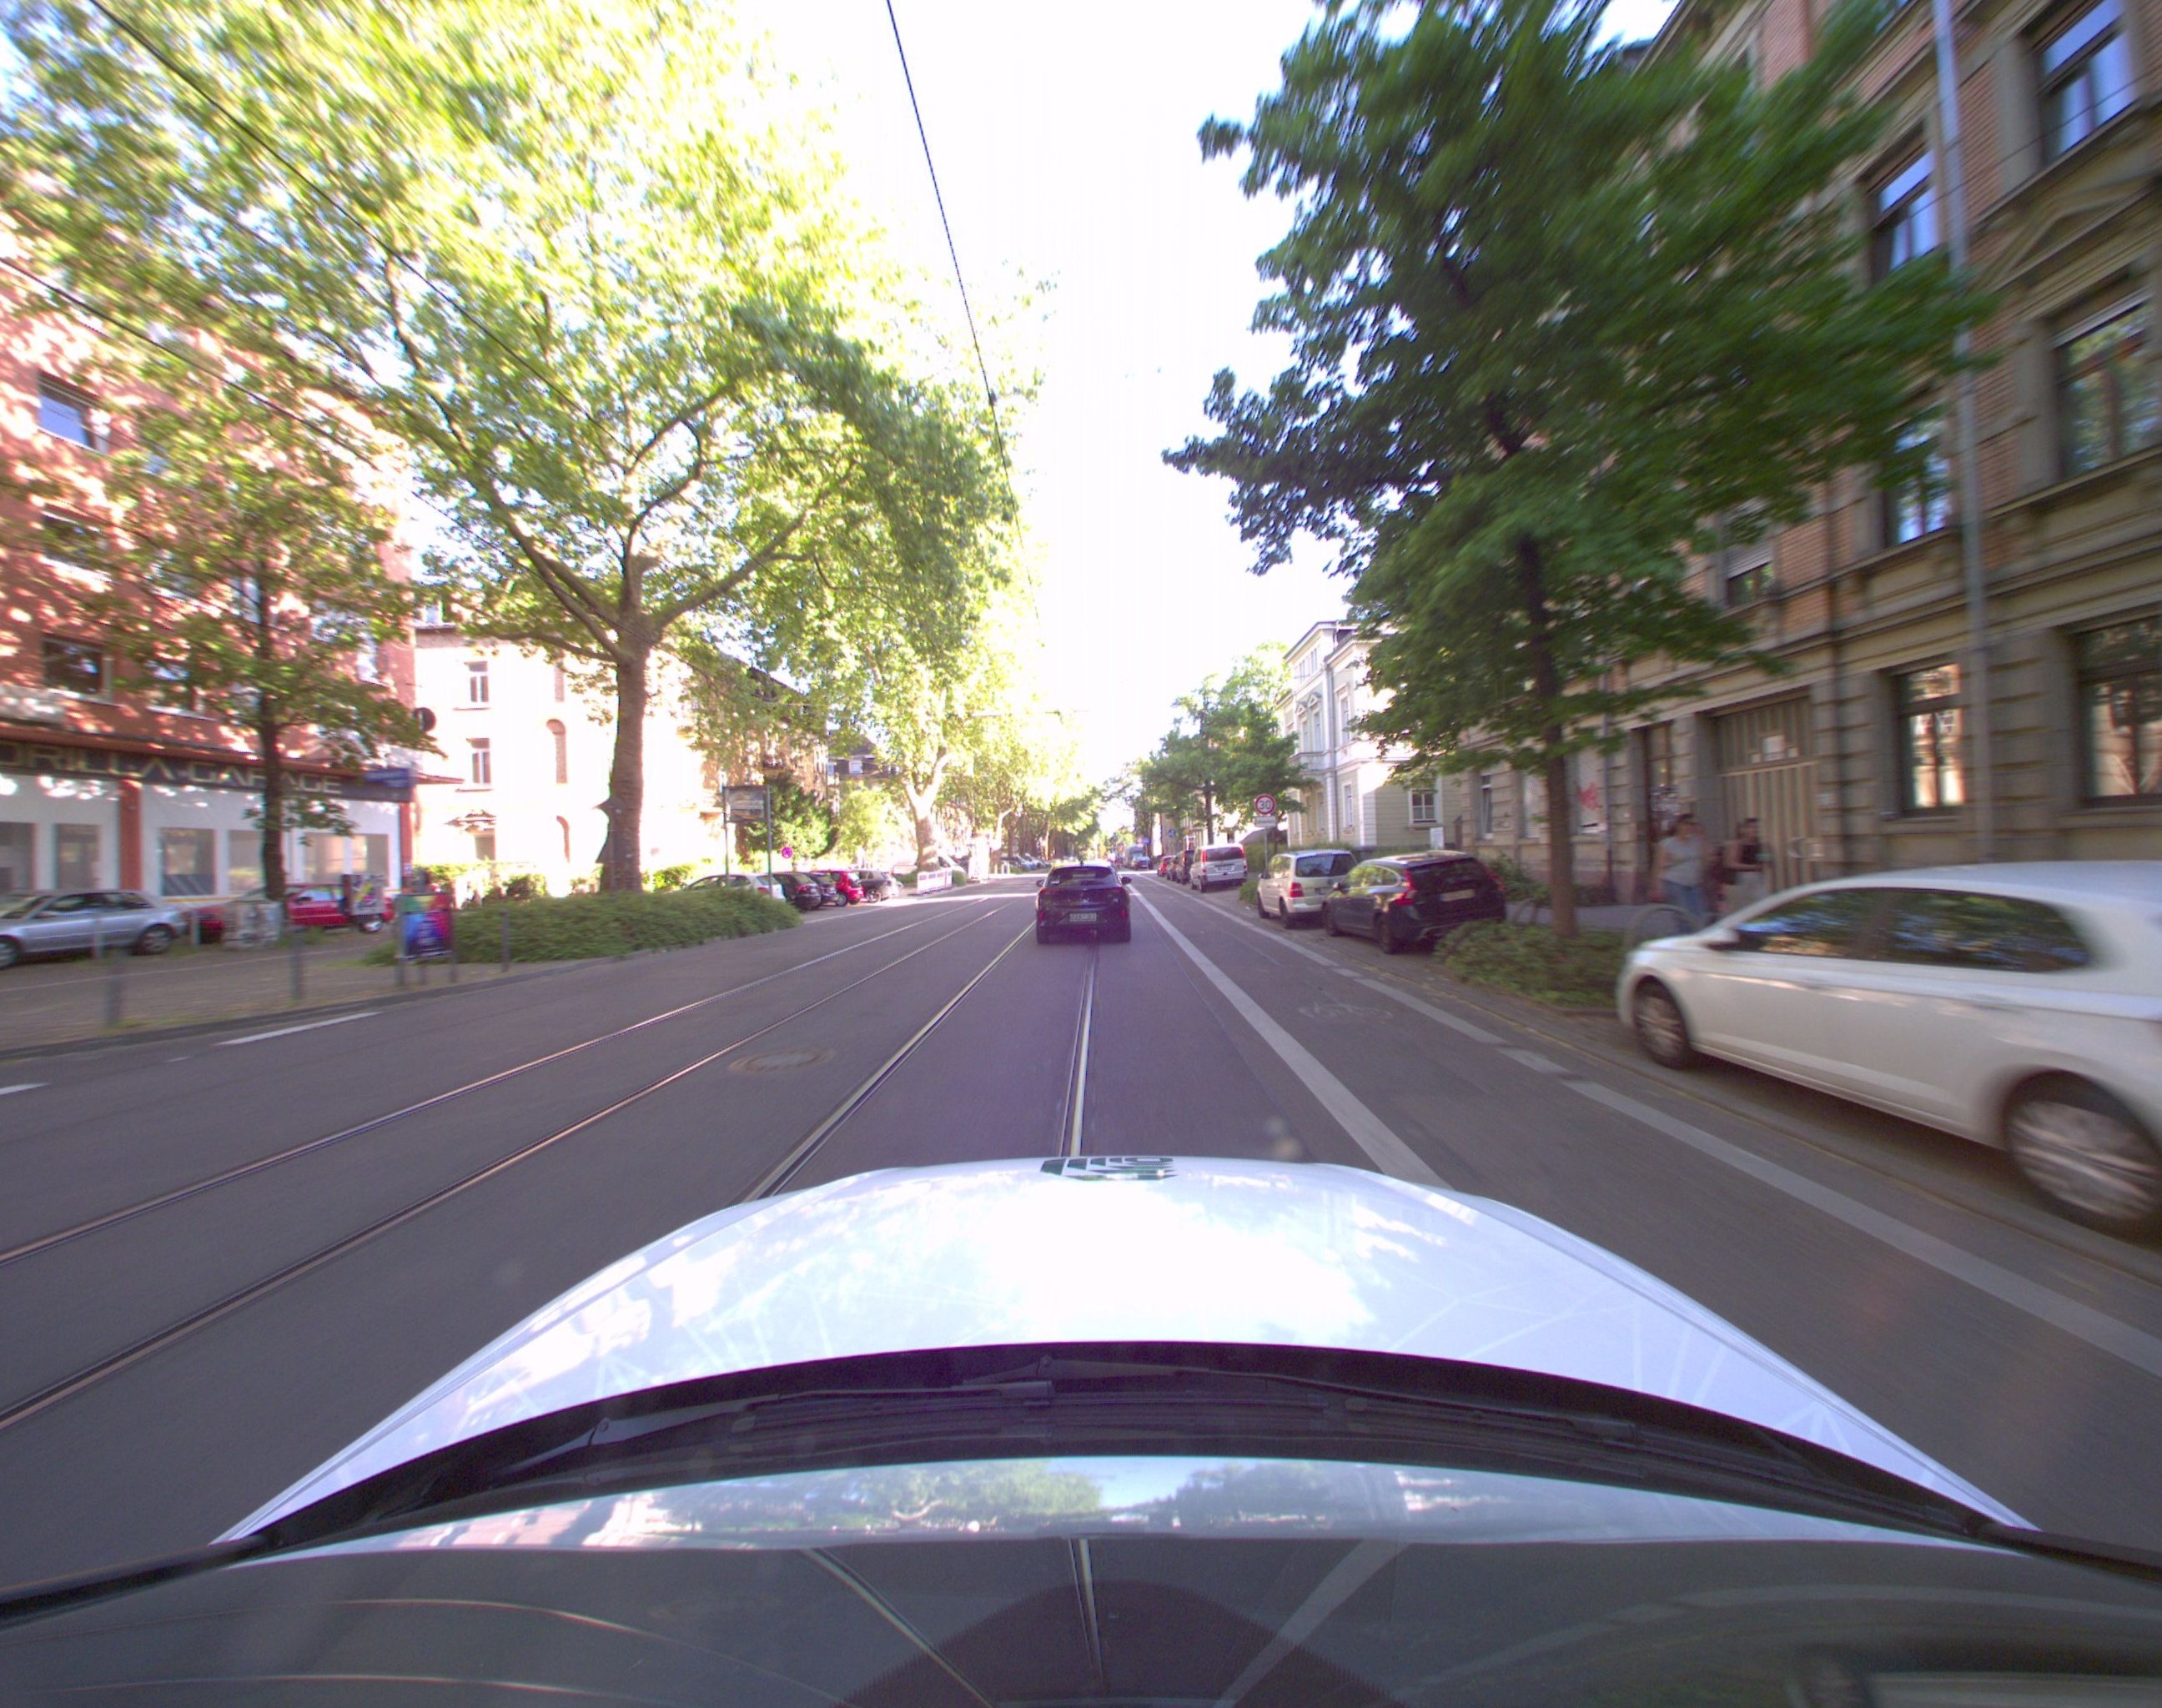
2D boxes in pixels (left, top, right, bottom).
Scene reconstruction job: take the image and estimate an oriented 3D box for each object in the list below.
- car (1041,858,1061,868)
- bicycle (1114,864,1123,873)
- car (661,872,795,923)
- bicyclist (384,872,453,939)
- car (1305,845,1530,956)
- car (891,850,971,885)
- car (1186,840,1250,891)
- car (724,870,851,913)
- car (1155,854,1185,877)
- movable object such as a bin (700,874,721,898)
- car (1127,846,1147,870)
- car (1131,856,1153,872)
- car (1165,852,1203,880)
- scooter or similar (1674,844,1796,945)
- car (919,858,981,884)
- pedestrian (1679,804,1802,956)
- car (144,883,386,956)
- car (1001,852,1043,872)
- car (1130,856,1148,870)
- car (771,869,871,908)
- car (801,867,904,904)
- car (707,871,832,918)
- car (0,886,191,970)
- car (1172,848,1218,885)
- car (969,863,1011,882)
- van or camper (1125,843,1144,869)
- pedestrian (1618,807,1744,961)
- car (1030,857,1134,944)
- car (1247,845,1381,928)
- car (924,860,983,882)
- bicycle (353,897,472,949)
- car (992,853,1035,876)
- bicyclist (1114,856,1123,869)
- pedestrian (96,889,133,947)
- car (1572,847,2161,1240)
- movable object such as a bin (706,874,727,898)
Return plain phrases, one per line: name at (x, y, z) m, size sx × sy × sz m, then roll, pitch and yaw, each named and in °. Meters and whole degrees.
car at (-6.532, 2.020, 176.780) m, size 3.965 × 2.014 × 2.004 m, roll -1°, pitch -1°, yaw 7°
bicycle at (4.257, 1.633, 92.445) m, size 0.964 × 0.999 × 2.583 m, roll -1°, pitch -1°, yaw 0°
car at (-11.023, 1.345, 25.578) m, size 3.405 × 1.465 × 1.698 m, roll -1°, pitch -1°, yaw 3°
bicyclist at (-15.754, 1.205, 19.394) m, size 0.799 × 1.507 × 1.113 m, roll -1°, pitch -1°, yaw -9°
car at (5.493, 0.691, 14.046) m, size 1.878 × 1.467 × 4.593 m, roll -4°, pitch -1°, yaw 0°
car at (-10.176, 0.910, 55.424) m, size 5.020 × 2.259 × 2.084 m, roll -1°, pitch -1°, yaw -2°
car at (5.722, 0.479, 34.554) m, size 1.877 × 1.851 × 4.968 m, roll -5°, pitch -1°, yaw 1°
car at (-11.005, 1.391, 30.698) m, size 4.065 × 1.465 × 1.822 m, roll -1°, pitch -1°, yaw 3°
car at (6.360, 0.804, 58.235) m, size 1.696 × 1.423 × 3.979 m, roll -5°, pitch -1°, yaw 1°
movable object such as a bin at (-17.482, 1.512, 38.465) m, size 0.721 × 1.109 × 0.543 m, roll -1°, pitch -1°, yaw 3°
car at (6.934, 0.471, 101.613) m, size 2.077 × 2.772 × 4.699 m, roll -3°, pitch 0°, yaw 1°
car at (6.271, 0.990, 84.160) m, size 1.877 × 1.434 × 4.531 m, roll -5°, pitch -1°, yaw 1°
car at (6.205, 0.726, 49.464) m, size 1.706 × 1.514 × 4.036 m, roll -4°, pitch -1°, yaw 0°
scooter or similar at (8.686, 0.513, 10.879) m, size 0.573 × 1.246 × 1.336 m, roll -1°, pitch -1°, yaw 3°
car at (-9.833, 1.283, 61.331) m, size 4.287 × 1.801 × 1.925 m, roll -2°, pitch 0°, yaw -2°
pedestrian at (7.763, 0.294, 9.630) m, size 0.723 × 1.709 × 0.856 m, roll -1°, pitch -1°, yaw 0°
car at (-20.195, 1.556, 20.451) m, size 1.940 × 1.487 × 4.002 m, roll -1°, pitch -1°, yaw 2°
car at (-8.251, 1.152, 113.968) m, size 5.612 × 2.593 × 2.199 m, roll -1°, pitch -1°, yaw 5°
car at (6.708, 1.081, 94.404) m, size 1.797 × 1.434 × 4.001 m, roll -3°, pitch -2°, yaw 1°
car at (-10.523, 1.372, 33.094) m, size 3.405 × 1.465 × 1.761 m, roll -1°, pitch -1°, yaw 3°
car at (-10.040, 1.368, 35.935) m, size 3.973 × 1.465 × 1.854 m, roll -1°, pitch -1°, yaw 1°
car at (-10.637, 1.371, 27.933) m, size 3.586 × 1.465 × 1.688 m, roll -1°, pitch -1°, yaw 3°
car at (-20.366, 1.408, 15.744) m, size 1.940 × 1.407 × 3.894 m, roll -1°, pitch -1°, yaw 2°
car at (6.063, 0.655, 43.689) m, size 1.879 × 1.766 × 4.679 m, roll -3°, pitch -1°, yaw 1°
car at (-9.712, 1.986, 87.214) m, size 4.295 × 1.593 × 1.778 m, roll -5°, pitch -1°, yaw -7°
van or camper at (7.080, 0.245, 108.181) m, size 2.246 × 3.216 × 5.532 m, roll -3°, pitch -1°, yaw 1°
pedestrian at (6.954, 0.337, 9.492) m, size 0.723 × 1.693 × 0.957 m, roll -1°, pitch -1°, yaw 1°
car at (0.077, 0.809, 15.919) m, size 1.757 × 1.460 × 3.952 m, roll -1°, pitch -1°, yaw 2°
car at (5.226, 0.688, 18.855) m, size 1.877 × 1.568 × 4.243 m, roll -5°, pitch -1°, yaw 1°
car at (-9.953, 1.347, 63.953) m, size 4.287 × 1.607 × 1.925 m, roll -2°, pitch 0°, yaw -2°
bicycle at (-15.738, 1.589, 19.290) m, size 0.967 × 0.999 × 2.575 m, roll -1°, pitch -1°, yaw -8°
car at (-8.359, 1.293, 101.248) m, size 5.018 × 2.374 × 2.082 m, roll -5°, pitch -1°, yaw 1°
bicyclist at (4.236, 0.961, 92.437) m, size 0.955 × 1.499 × 1.094 m, roll -1°, pitch -1°, yaw 0°
pedestrian at (-30.476, 2.022, 25.674) m, size 0.537 × 1.778 × 0.520 m, roll -1°, pitch -1°, yaw 1°
car at (5.021, 0.718, 4.718) m, size 1.877 × 1.368 × 4.108 m, roll -5°, pitch -1°, yaw 1°
movable object such as a bin at (-17.478, 1.519, 39.045) m, size 0.720 × 1.109 × 0.561 m, roll -1°, pitch -1°, yaw 3°
